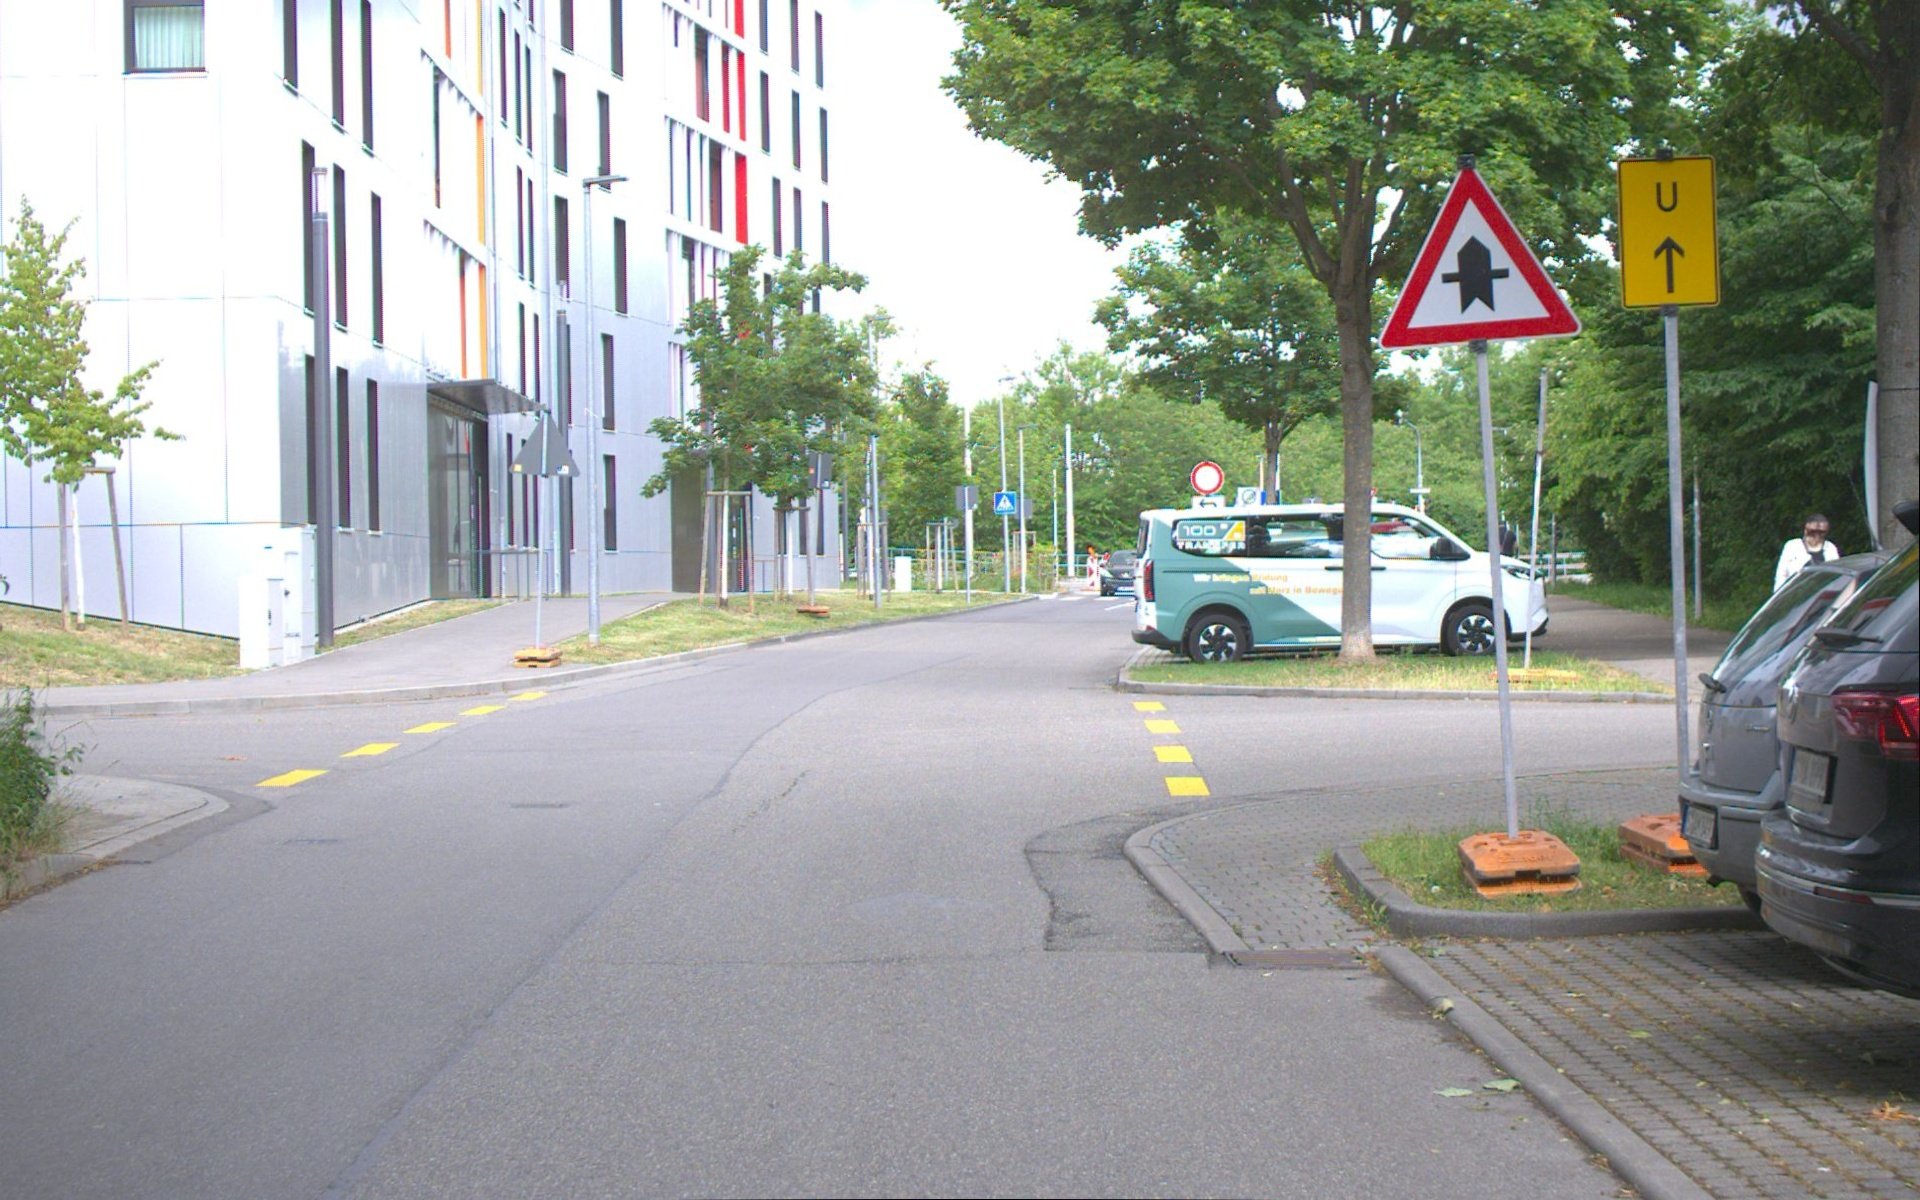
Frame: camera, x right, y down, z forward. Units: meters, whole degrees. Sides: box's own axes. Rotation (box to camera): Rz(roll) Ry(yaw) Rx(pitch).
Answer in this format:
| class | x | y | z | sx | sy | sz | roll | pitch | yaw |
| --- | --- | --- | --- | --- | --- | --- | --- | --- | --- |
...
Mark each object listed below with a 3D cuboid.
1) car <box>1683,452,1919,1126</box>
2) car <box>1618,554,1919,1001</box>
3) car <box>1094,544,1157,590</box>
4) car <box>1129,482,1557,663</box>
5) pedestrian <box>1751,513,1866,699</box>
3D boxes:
| class | x | y | z | sx | sy | sz | roll | pitch | yaw |
| --- | --- | --- | --- | --- | --- | --- | --- | --- | --- |
| car | 4.217 | 0.386 | 9.300 | 4.124 | 1.644 | 1.980 | -2 | 0 | 4 |
| car | 4.372 | 0.506 | 11.850 | 3.832 | 1.398 | 1.852 | -2 | 0 | 2 |
| car | 5.116 | -1.038 | 105.787 | 1.609 | 1.383 | 3.999 | 1 | 1 | 7 |
| car | 4.619 | -0.339 | 42.023 | 4.972 | 1.965 | 1.847 | -2 | 1 | 1 |
| pedestrian | 7.268 | 0.046 | 29.474 | 0.834 | 1.571 | 0.809 | 0 | 1 | 6 |
